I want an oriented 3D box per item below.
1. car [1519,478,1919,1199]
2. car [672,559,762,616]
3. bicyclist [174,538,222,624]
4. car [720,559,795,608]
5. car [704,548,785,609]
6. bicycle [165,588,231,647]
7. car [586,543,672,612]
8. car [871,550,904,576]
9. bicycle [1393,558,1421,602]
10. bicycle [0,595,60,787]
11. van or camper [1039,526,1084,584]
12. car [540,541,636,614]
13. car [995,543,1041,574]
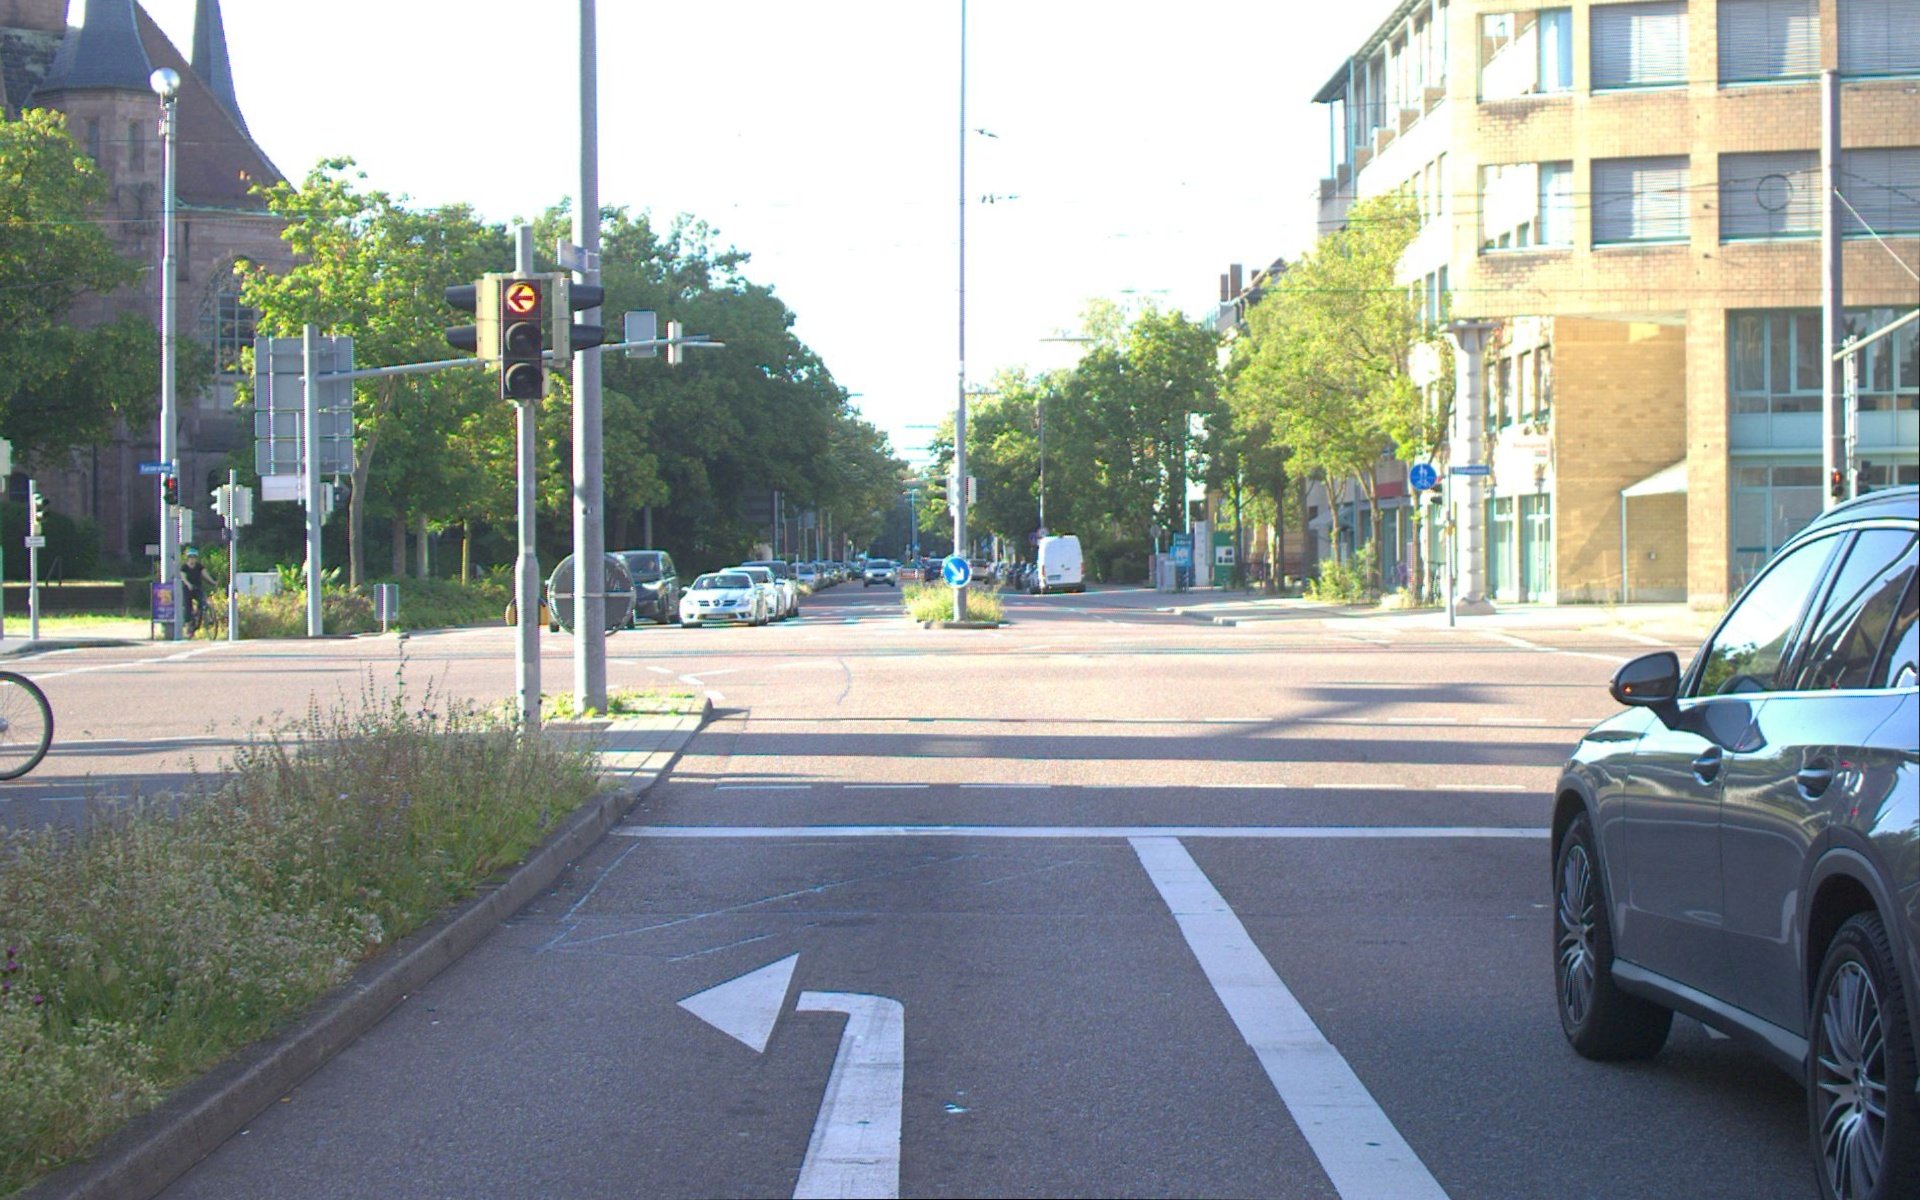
[{"bbox_3d":[2.664,0.537,8.342,1.784,1.627,4.479,0,1,-1],"label":"car"},{"bbox_3d":[-5.577,-0.304,79.318,1.780,1.232,4.000,0,1,0],"label":"car"},{"bbox_3d":[-15.052,-0.378,67.904,0.639,1.688,0.782,-1,1,-37],"label":"bicyclist"},{"bbox_3d":[-5.470,-0.459,93.156,1.780,1.232,4.000,0,1,0],"label":"car"},{"bbox_3d":[-5.359,-0.548,85.889,1.780,1.459,4.000,0,1,0],"label":"car"},{"bbox_3d":[-15.059,0.343,67.930,0.645,1.135,1.680,-1,1,-37],"label":"bicycle"},{"bbox_3d":[-8.371,-0.592,87.258,1.780,1.698,4.000,0,1,0],"label":"car"},{"bbox_3d":[-4.152,-2.138,196.642,1.780,1.444,4.000,0,1,0],"label":"car"},{"bbox_3d":[12.616,-0.567,96.989,0.774,1.191,2.464,0,1,7],"label":"bicycle"},{"bbox_3d":[-6.713,0.573,21.777,1.827,1.184,0.734,-1,1,-1],"label":"bicycle"},{"bbox_3d":[4.691,-2.116,159.011,1.993,2.631,5.350,0,1,1],"label":"van or camper"},{"bbox_3d":[-8.615,-0.541,79.858,1.780,1.641,4.000,0,1,0],"label":"car"},{"bbox_3d":[3.102,-2.237,184.247,1.993,1.587,4.001,-1,1,-6],"label":"car"}]
